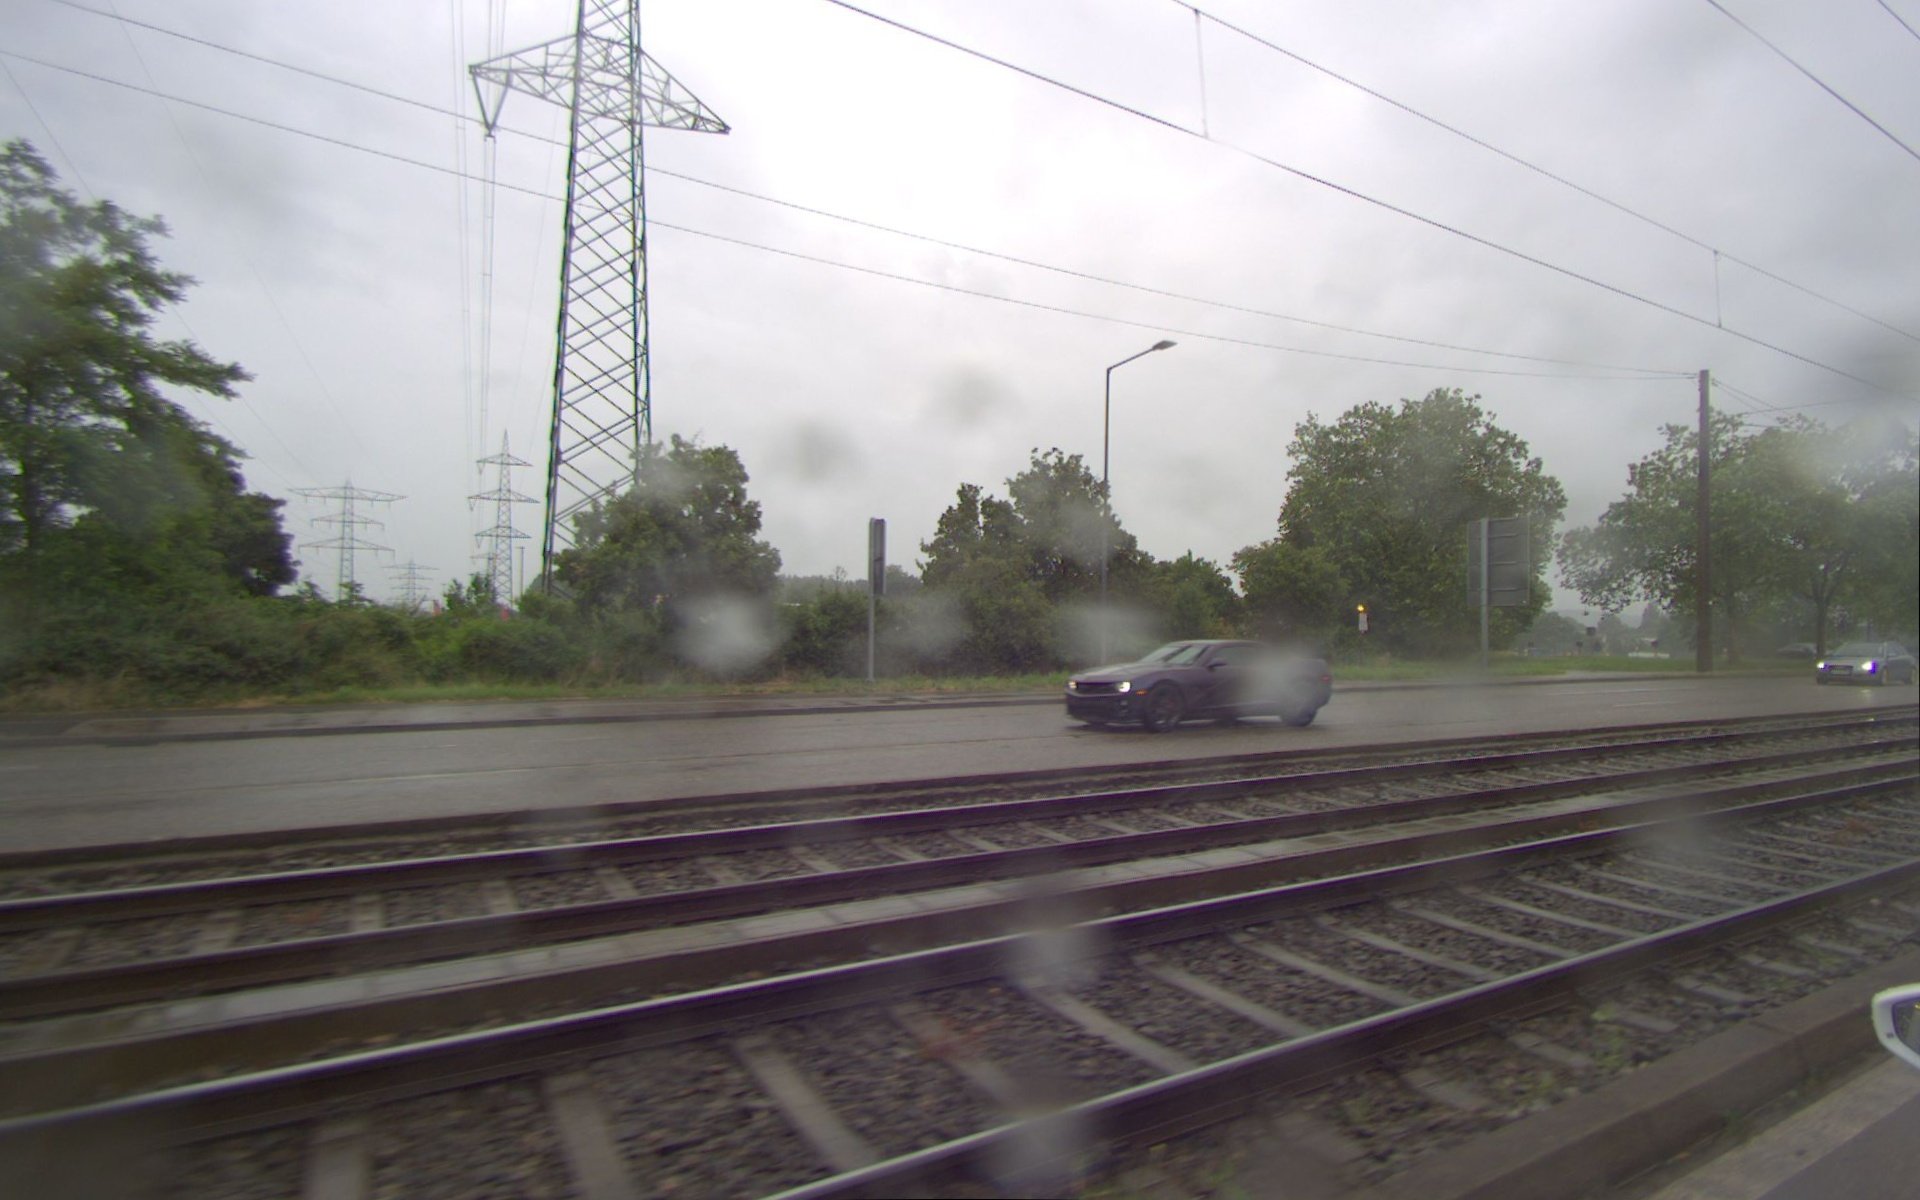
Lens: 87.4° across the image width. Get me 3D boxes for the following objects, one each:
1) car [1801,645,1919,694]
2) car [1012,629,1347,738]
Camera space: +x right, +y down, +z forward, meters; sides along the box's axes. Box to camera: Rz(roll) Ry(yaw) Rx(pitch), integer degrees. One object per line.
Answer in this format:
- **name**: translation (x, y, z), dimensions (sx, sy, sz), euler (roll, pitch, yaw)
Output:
- **car**: translation (30.675, 2.311, 34.063), dimensions (5.012, 1.381, 1.749), euler (1, 0, -31)
- **car**: translation (3.567, 1.236, 16.065), dimensions (5.185, 1.483, 1.986), euler (1, -3, -28)
